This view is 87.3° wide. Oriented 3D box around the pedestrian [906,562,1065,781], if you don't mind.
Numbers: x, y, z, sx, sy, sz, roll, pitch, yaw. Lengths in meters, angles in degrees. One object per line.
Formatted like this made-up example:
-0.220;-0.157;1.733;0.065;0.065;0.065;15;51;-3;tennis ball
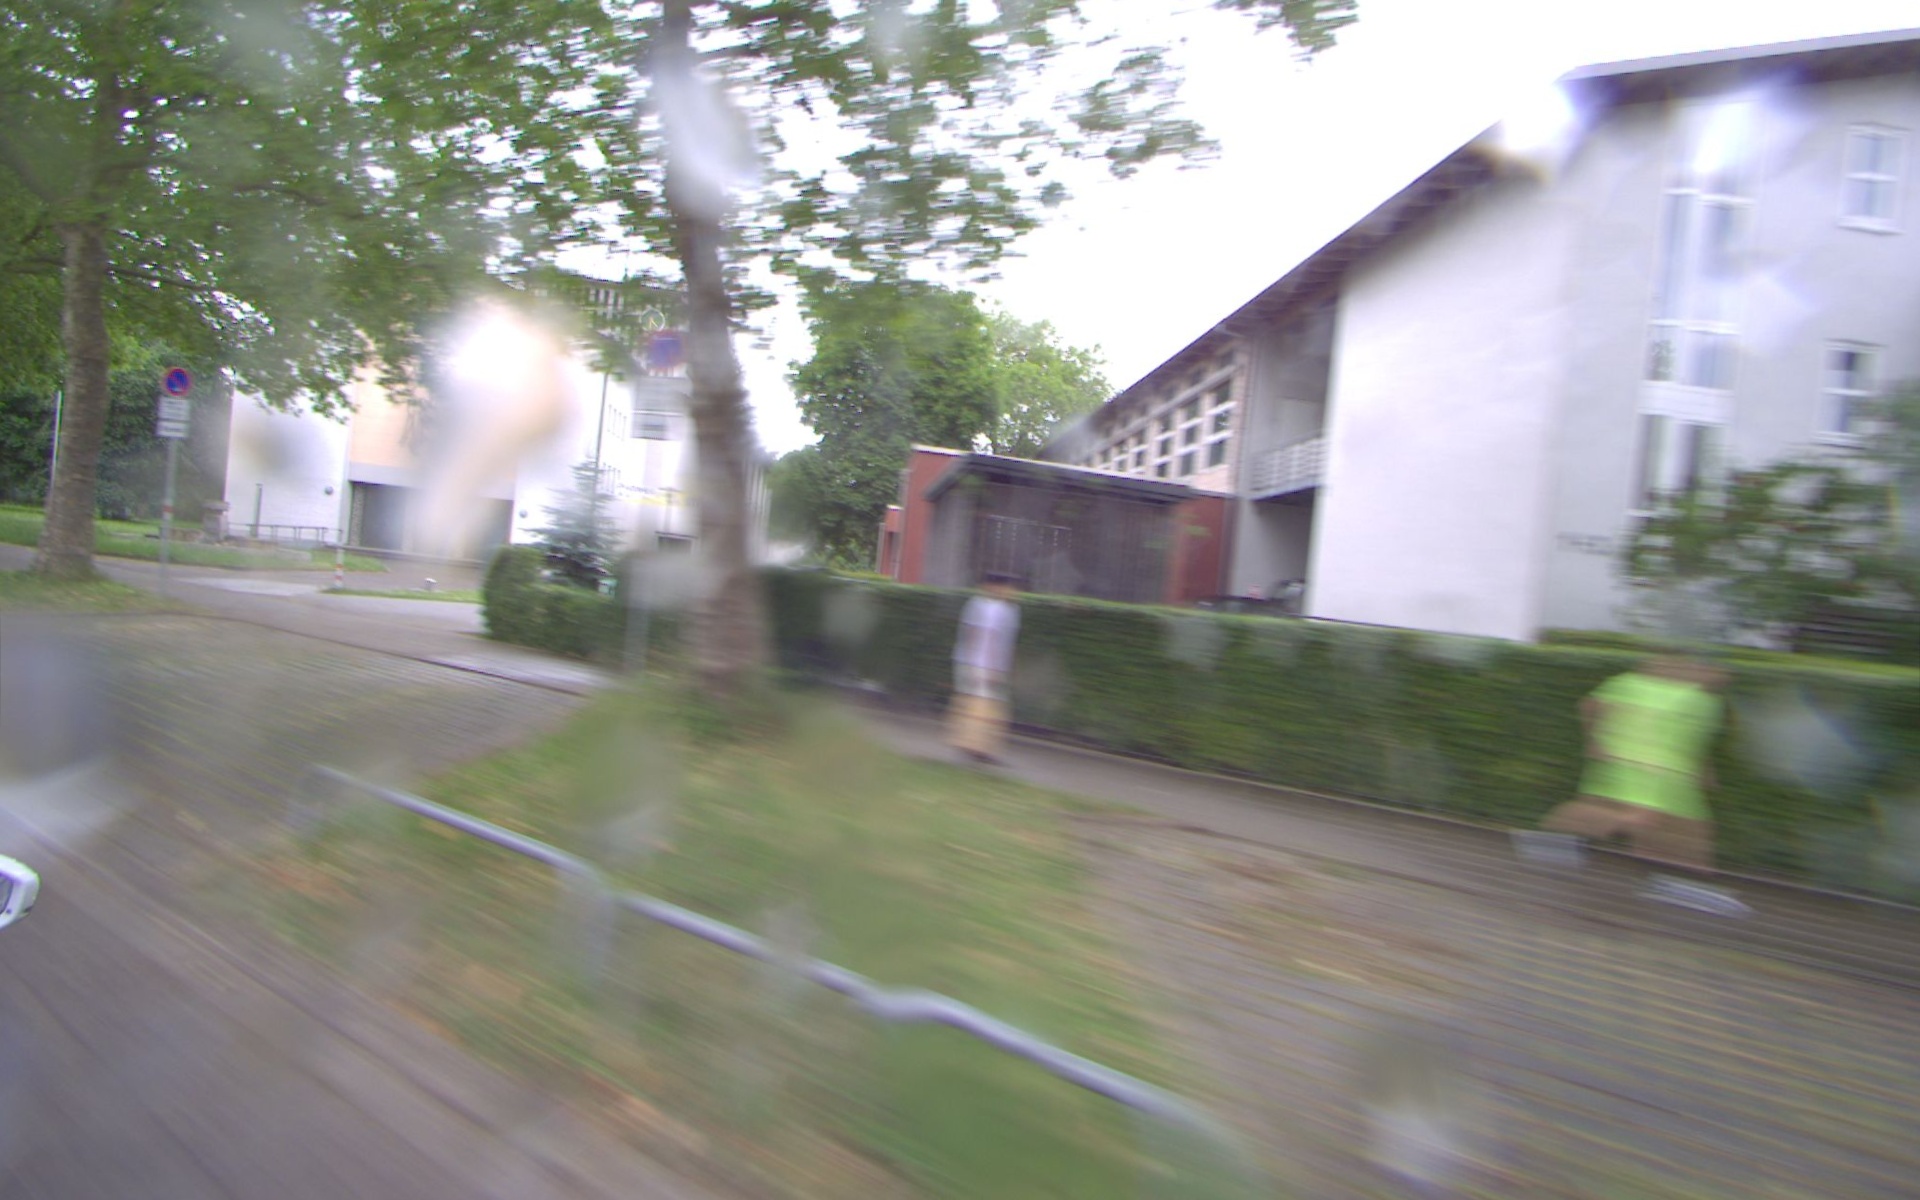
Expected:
0.215;0.534;7.949;0.845;1.558;0.834;6;2;27;pedestrian

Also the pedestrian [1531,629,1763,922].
4.122;1.005;6.119;0.950;1.558;0.557;6;2;27;pedestrian

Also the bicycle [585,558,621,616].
-7.447;-0.301;21.041;0.457;1.105;2.038;4;2;-15;bicycle
